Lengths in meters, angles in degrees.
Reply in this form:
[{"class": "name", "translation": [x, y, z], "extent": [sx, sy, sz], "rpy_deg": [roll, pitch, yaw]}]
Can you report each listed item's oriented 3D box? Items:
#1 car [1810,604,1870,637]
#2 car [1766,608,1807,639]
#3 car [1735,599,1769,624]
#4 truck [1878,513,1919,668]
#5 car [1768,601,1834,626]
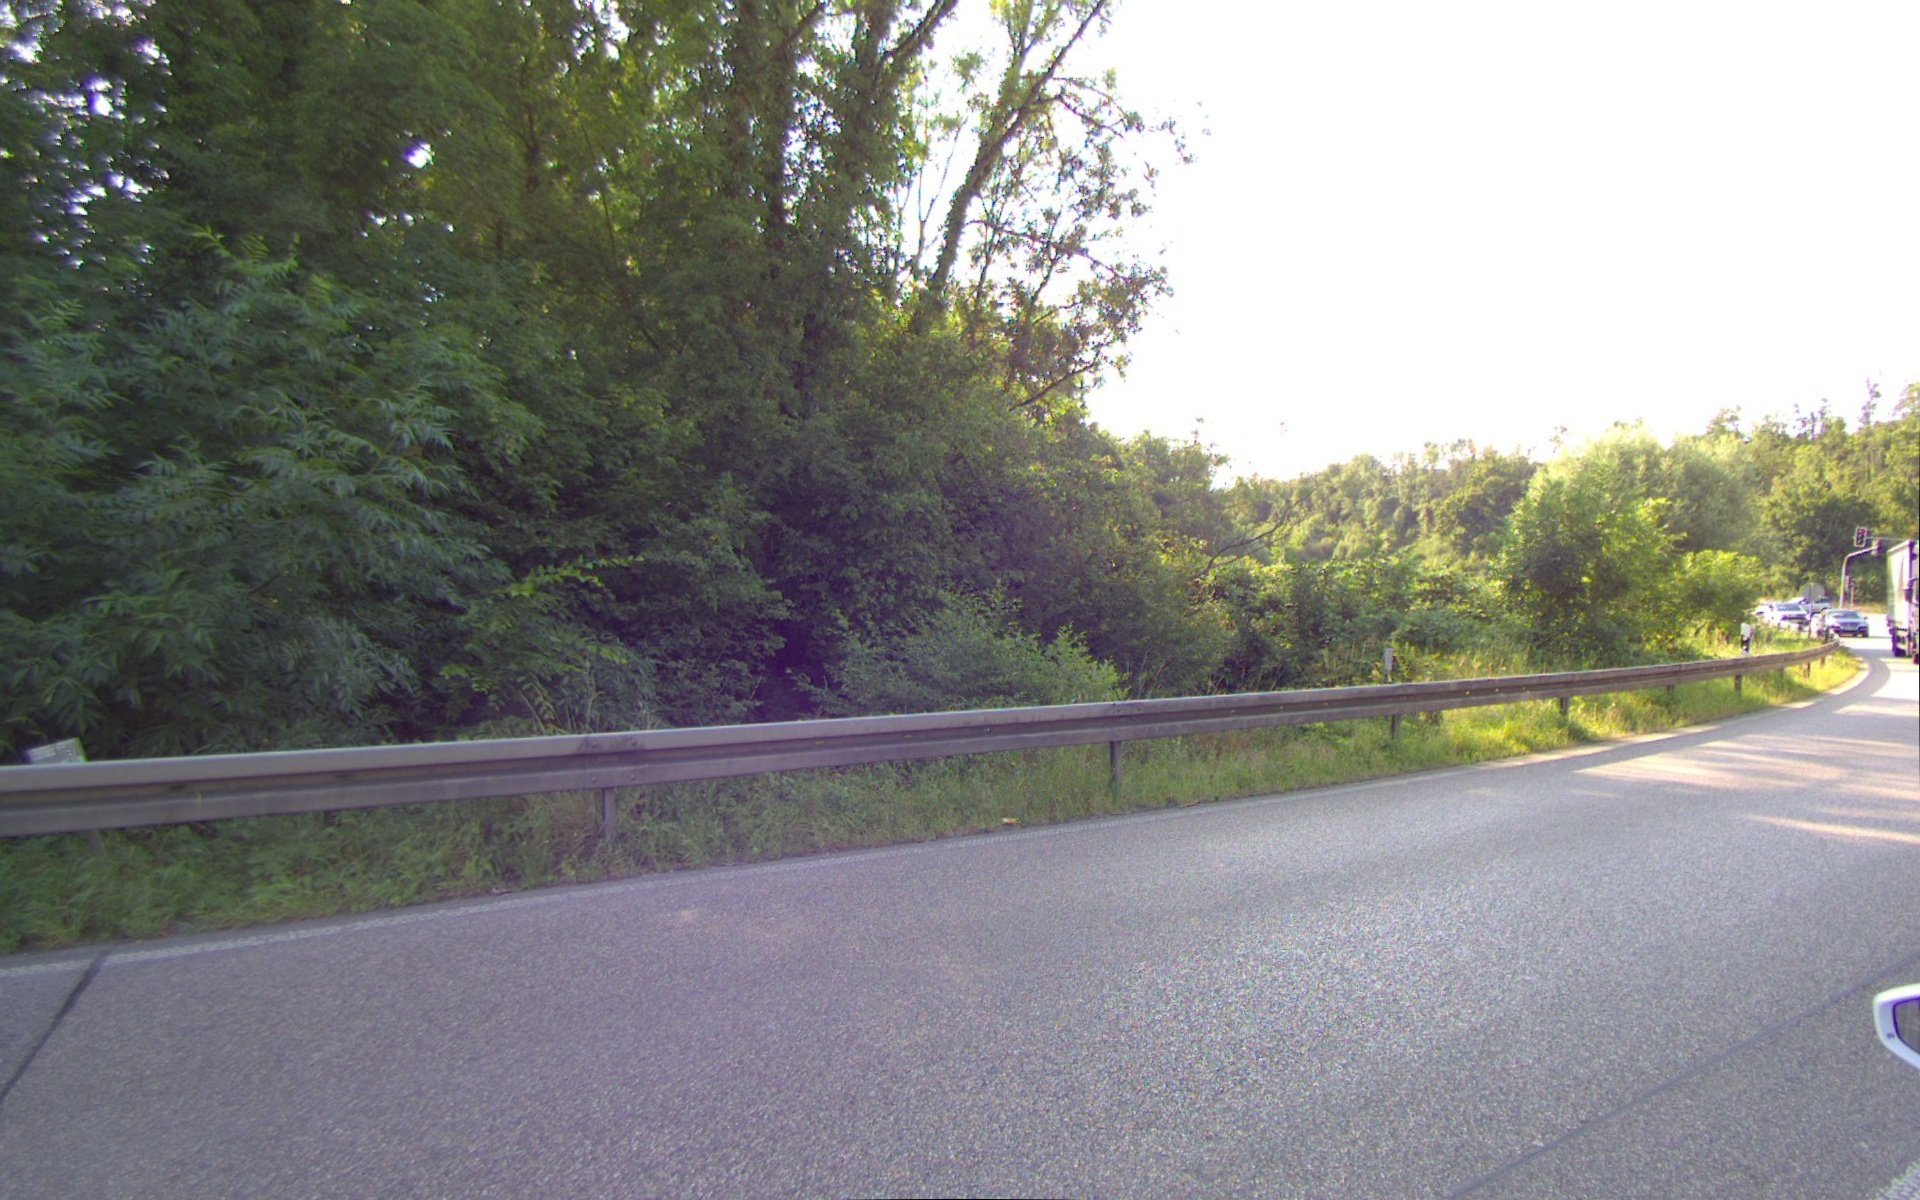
[{"class": "car", "translation": [46.784, 1.057, 53.457], "extent": [1.842, 1.577, 3.988], "rpy_deg": [3, 2, 34]}, {"class": "car", "translation": [53.075, 1.463, 64.578], "extent": [1.844, 1.876, 3.985], "rpy_deg": [0, 0, 37]}, {"class": "car", "translation": [63.374, 0.917, 80.350], "extent": [1.846, 1.876, 3.980], "rpy_deg": [4, 2, 40]}, {"class": "truck", "translation": [32.972, -0.165, 33.231], "extent": [2.975, 4.646, 10.197], "rpy_deg": [2, 0, 38]}, {"class": "car", "translation": [71.010, 1.148, 84.873], "extent": [3.921, 1.876, 1.873], "rpy_deg": [2, 2, -1]}]
